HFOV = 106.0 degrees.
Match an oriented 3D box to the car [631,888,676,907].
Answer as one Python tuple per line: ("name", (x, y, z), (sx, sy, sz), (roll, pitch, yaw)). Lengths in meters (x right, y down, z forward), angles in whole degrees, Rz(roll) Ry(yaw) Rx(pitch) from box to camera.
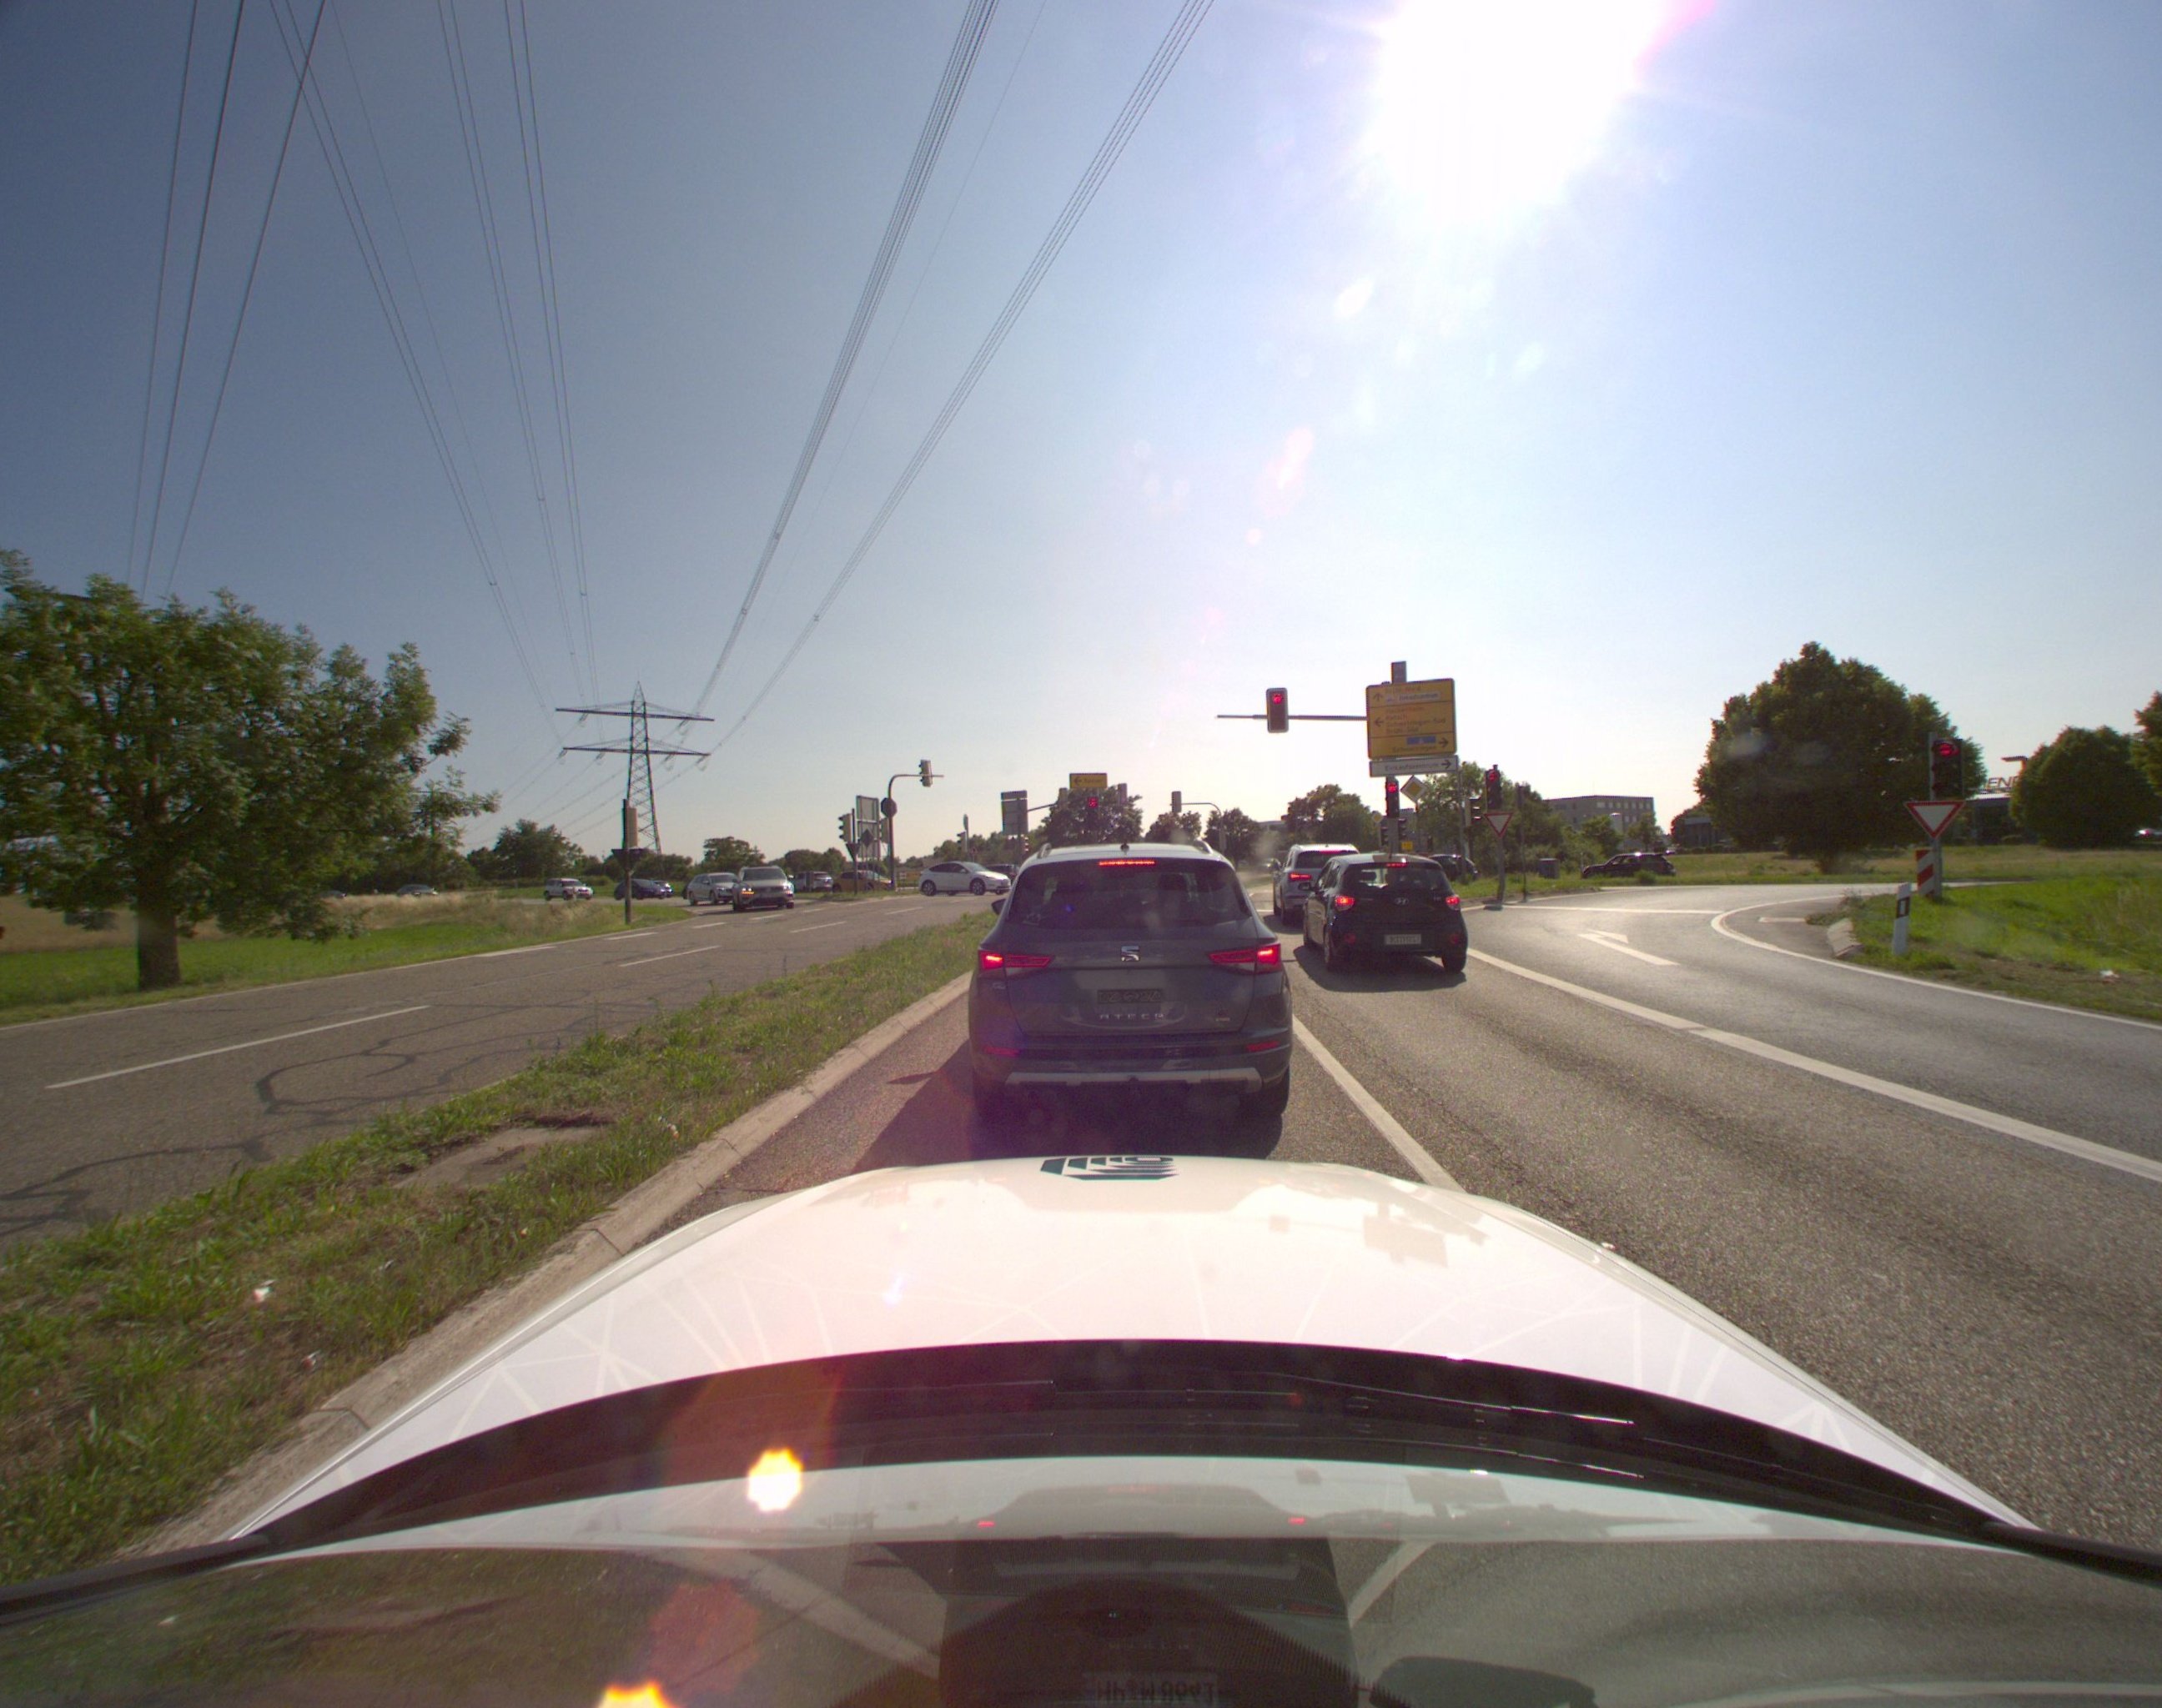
("car", (-34.358, 3.504, 65.499), (3.114, 1.382, 1.683), (0, -1, 27))

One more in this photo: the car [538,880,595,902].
("car", (-38.320, 2.710, 60.624), (3.949, 1.486, 1.831), (0, -1, 28))

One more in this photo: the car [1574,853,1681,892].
("car", (26.192, 0.885, 39.148), (1.831, 1.695, 3.849), (-1, -1, -28))

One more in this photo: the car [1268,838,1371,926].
("car", (5.023, 0.560, 17.573), (1.623, 1.677, 3.758), (-1, 0, 9))

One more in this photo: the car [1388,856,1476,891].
("car", (15.876, 0.853, 36.814), (3.500, 1.516, 1.471), (0, -1, 29))

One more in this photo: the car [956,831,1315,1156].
("car", (0.319, 0.694, 5.773), (1.735, 1.569, 3.625), (0, -1, 2))

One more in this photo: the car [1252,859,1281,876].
("car", (19.133, 1.405, 83.952), (1.859, 1.673, 3.793), (0, -1, 31))

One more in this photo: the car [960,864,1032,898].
("car", (-5.049, 1.604, 48.152), (3.968, 1.953, 1.707), (-2, -1, 32))

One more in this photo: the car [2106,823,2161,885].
("car", (35.713, 0.001, 25.755), (3.703, 1.953, 1.706), (0, -1, 30))

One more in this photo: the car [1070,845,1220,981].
("car", (0.829, 0.701, 11.251), (1.735, 1.569, 3.626), (0, -1, 3))

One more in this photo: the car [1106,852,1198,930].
("car", (1.580, 0.716, 17.358), (1.732, 1.484, 3.631), (0, -1, 7))

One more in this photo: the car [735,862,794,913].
("car", (-11.341, 1.152, 29.397), (1.820, 1.651, 3.973), (-2, -1, -20))

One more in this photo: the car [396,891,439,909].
("car", (-60.281, 4.175, 74.018), (3.948, 1.486, 1.832), (0, -1, 32))

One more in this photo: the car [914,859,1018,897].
("car", (-5.508, 1.164, 38.689), (4.700, 1.651, 1.831), (-2, -1, 29))

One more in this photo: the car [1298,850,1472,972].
("car", (4.055, 0.684, 11.362), (1.623, 1.448, 3.303), (-1, 0, 9))

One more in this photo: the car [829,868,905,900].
("car", (-12.114, 1.704, 45.985), (3.949, 1.651, 1.831), (-2, -1, 29))

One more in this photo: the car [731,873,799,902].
("car", (-19.611, 2.062, 50.529), (3.949, 1.651, 1.831), (-2, -1, 29))

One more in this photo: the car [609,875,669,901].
("car", (-30.723, 2.361, 56.574), (3.949, 1.651, 1.831), (-2, -1, 29))

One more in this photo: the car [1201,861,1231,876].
("car", (13.597, 1.423, 82.031), (1.701, 1.497, 3.794), (0, -1, 32))

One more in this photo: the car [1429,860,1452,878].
("car", (35.850, 1.463, 81.084), (1.859, 1.673, 3.792), (0, -1, 27))

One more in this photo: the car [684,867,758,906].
("car", (-16.863, 1.508, 38.040), (3.950, 1.651, 1.831), (-2, -1, 45))

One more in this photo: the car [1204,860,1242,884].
("car", (10.385, 1.311, 59.360), (1.860, 1.673, 3.791), (0, -1, 25))

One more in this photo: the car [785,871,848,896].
("car", (-18.189, 2.030, 55.953), (3.832, 1.519, 1.818), (-2, -1, 25))
